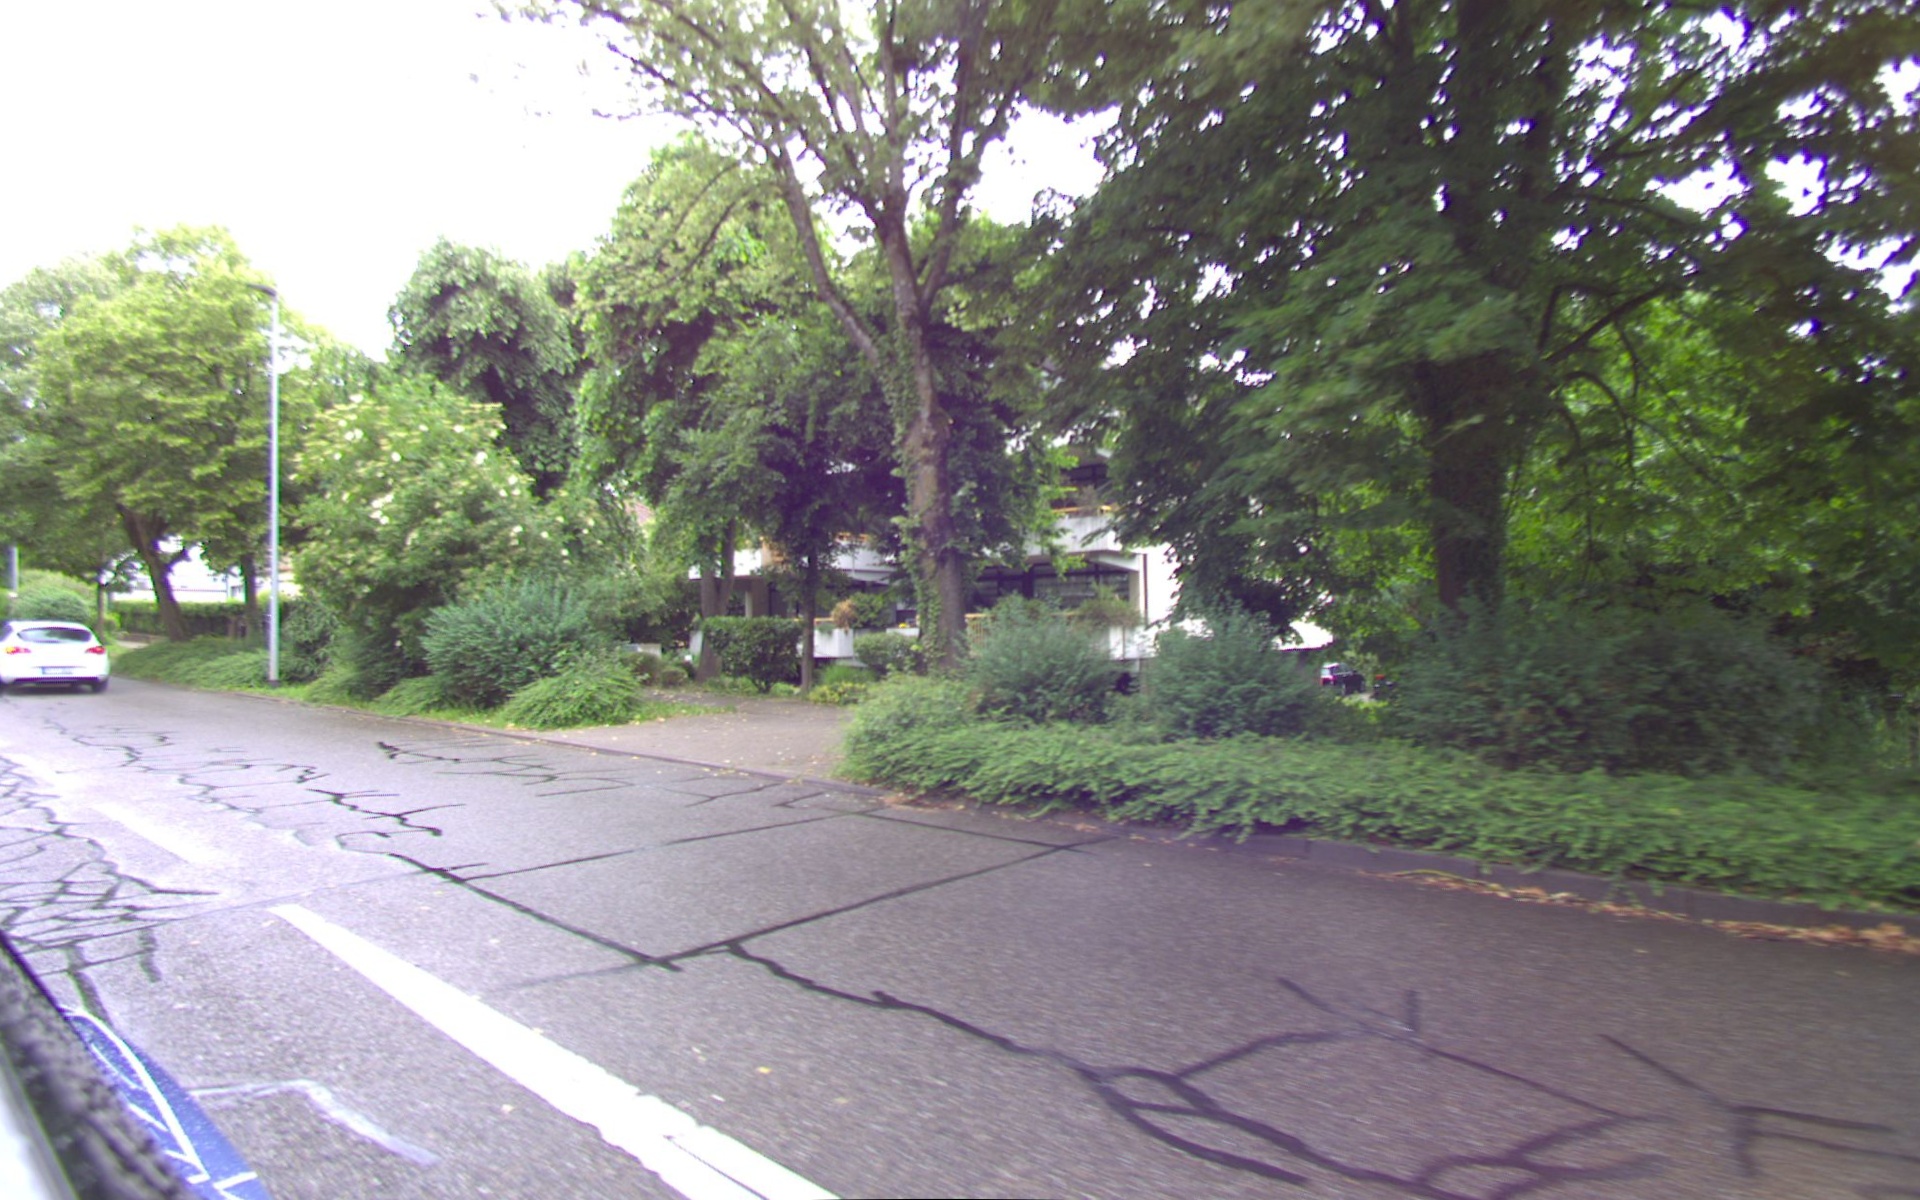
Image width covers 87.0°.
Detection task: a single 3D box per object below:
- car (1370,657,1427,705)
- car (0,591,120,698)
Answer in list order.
[{"bbox_3d":[19.214,3.476,44.294,1.818,1.730,3.959,-1,0,30],"label":"car"},{"bbox_3d":[-19.548,0.924,21.385,4.571,2.029,1.973,-2,-3,41],"label":"car"}]
